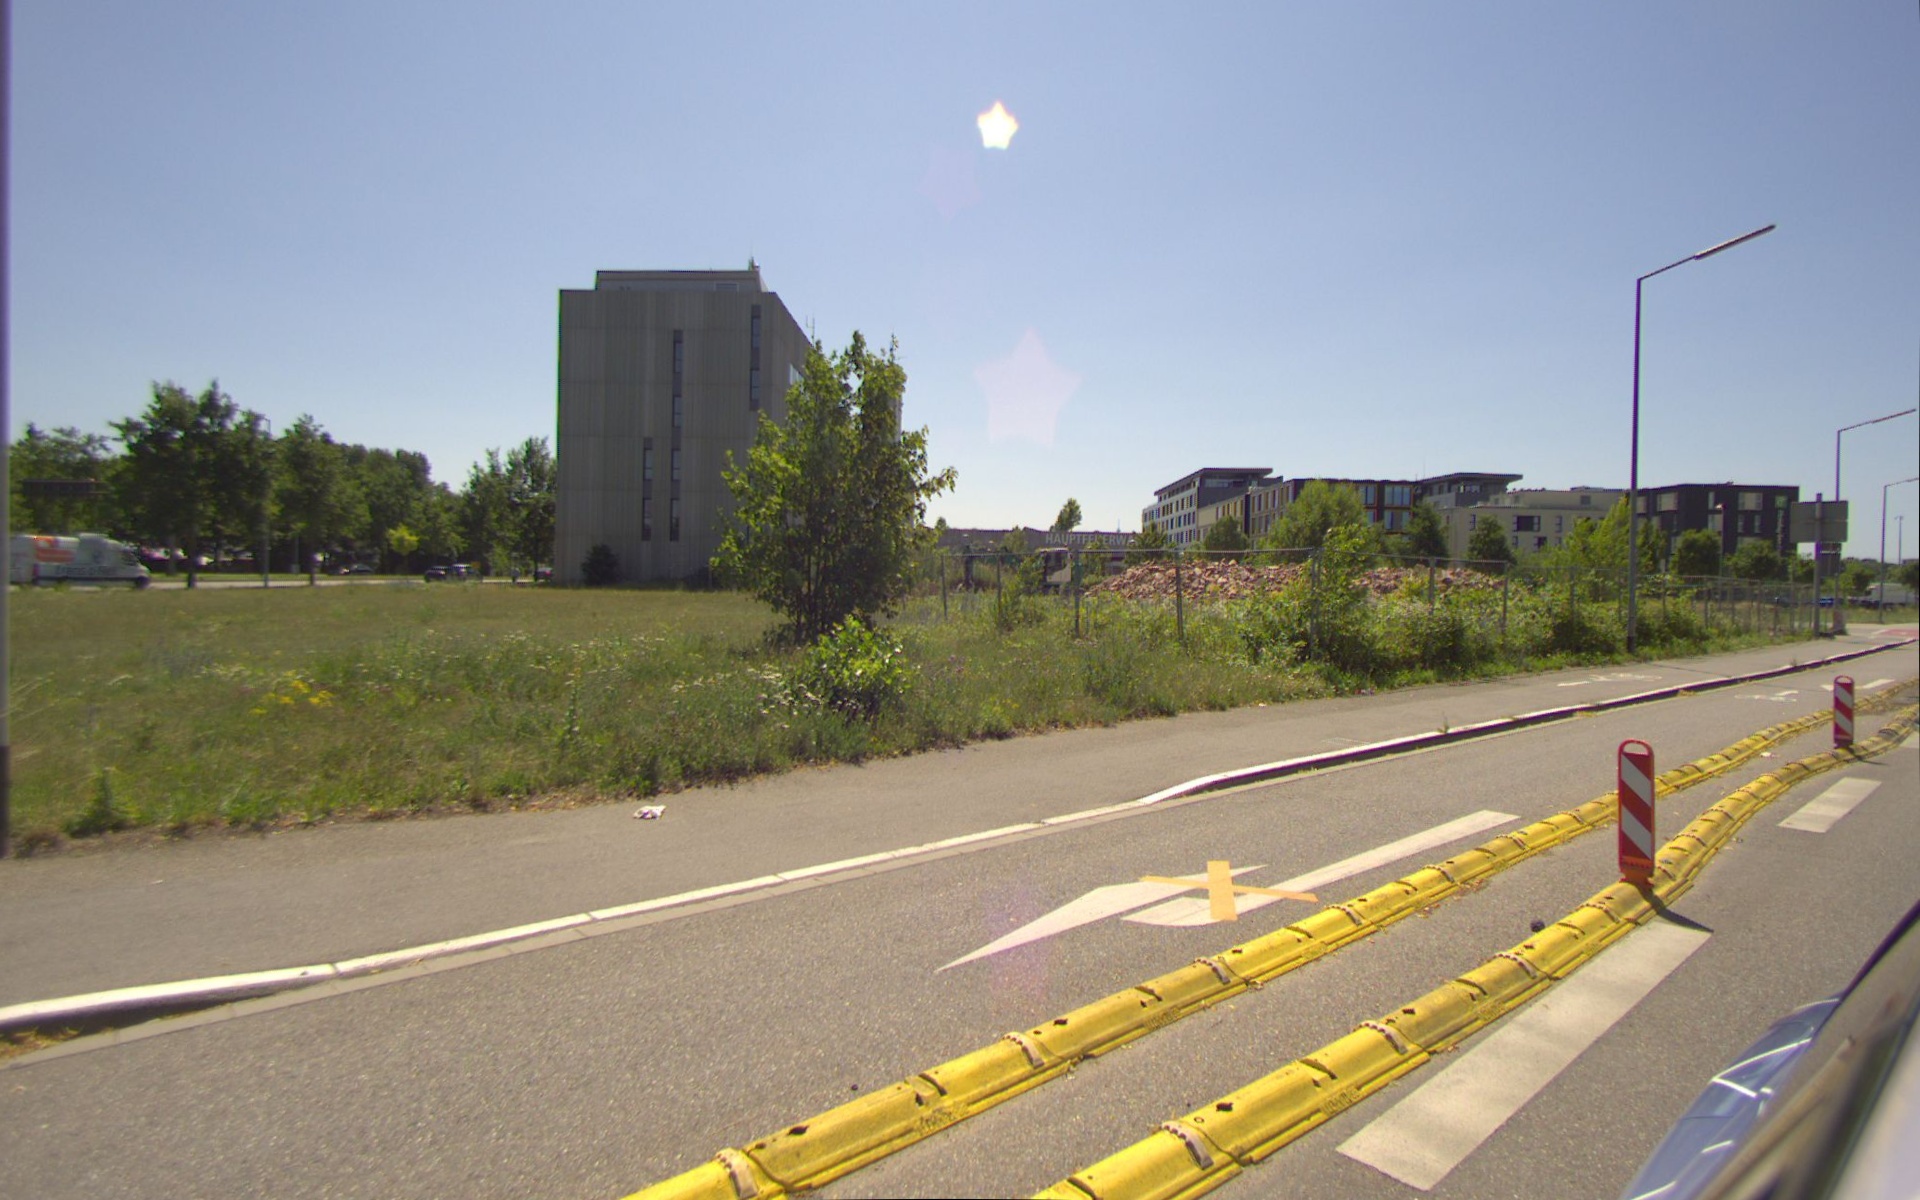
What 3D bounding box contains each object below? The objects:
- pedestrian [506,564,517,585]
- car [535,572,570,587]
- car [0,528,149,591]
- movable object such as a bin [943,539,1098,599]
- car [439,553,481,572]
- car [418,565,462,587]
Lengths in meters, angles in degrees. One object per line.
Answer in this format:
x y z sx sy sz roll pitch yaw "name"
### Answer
-33.427 -1.895 75.383 0.652 1.611 0.557 0 0 -15 "pedestrian"
-44.563 -2.242 110.768 1.963 1.615 4.418 2 1 1 "car"
-43.018 -1.857 49.074 1.962 2.863 6.885 0 0 0 "car"
3.202 -1.587 53.331 7.537 2.952 3.242 -1 0 -26 "movable object such as a bin"
-48.241 -3.580 97.701 1.961 1.615 4.422 2 1 -3 "car"
-42.010 -1.927 81.871 1.694 1.571 4.003 3 0 -4 "car"
